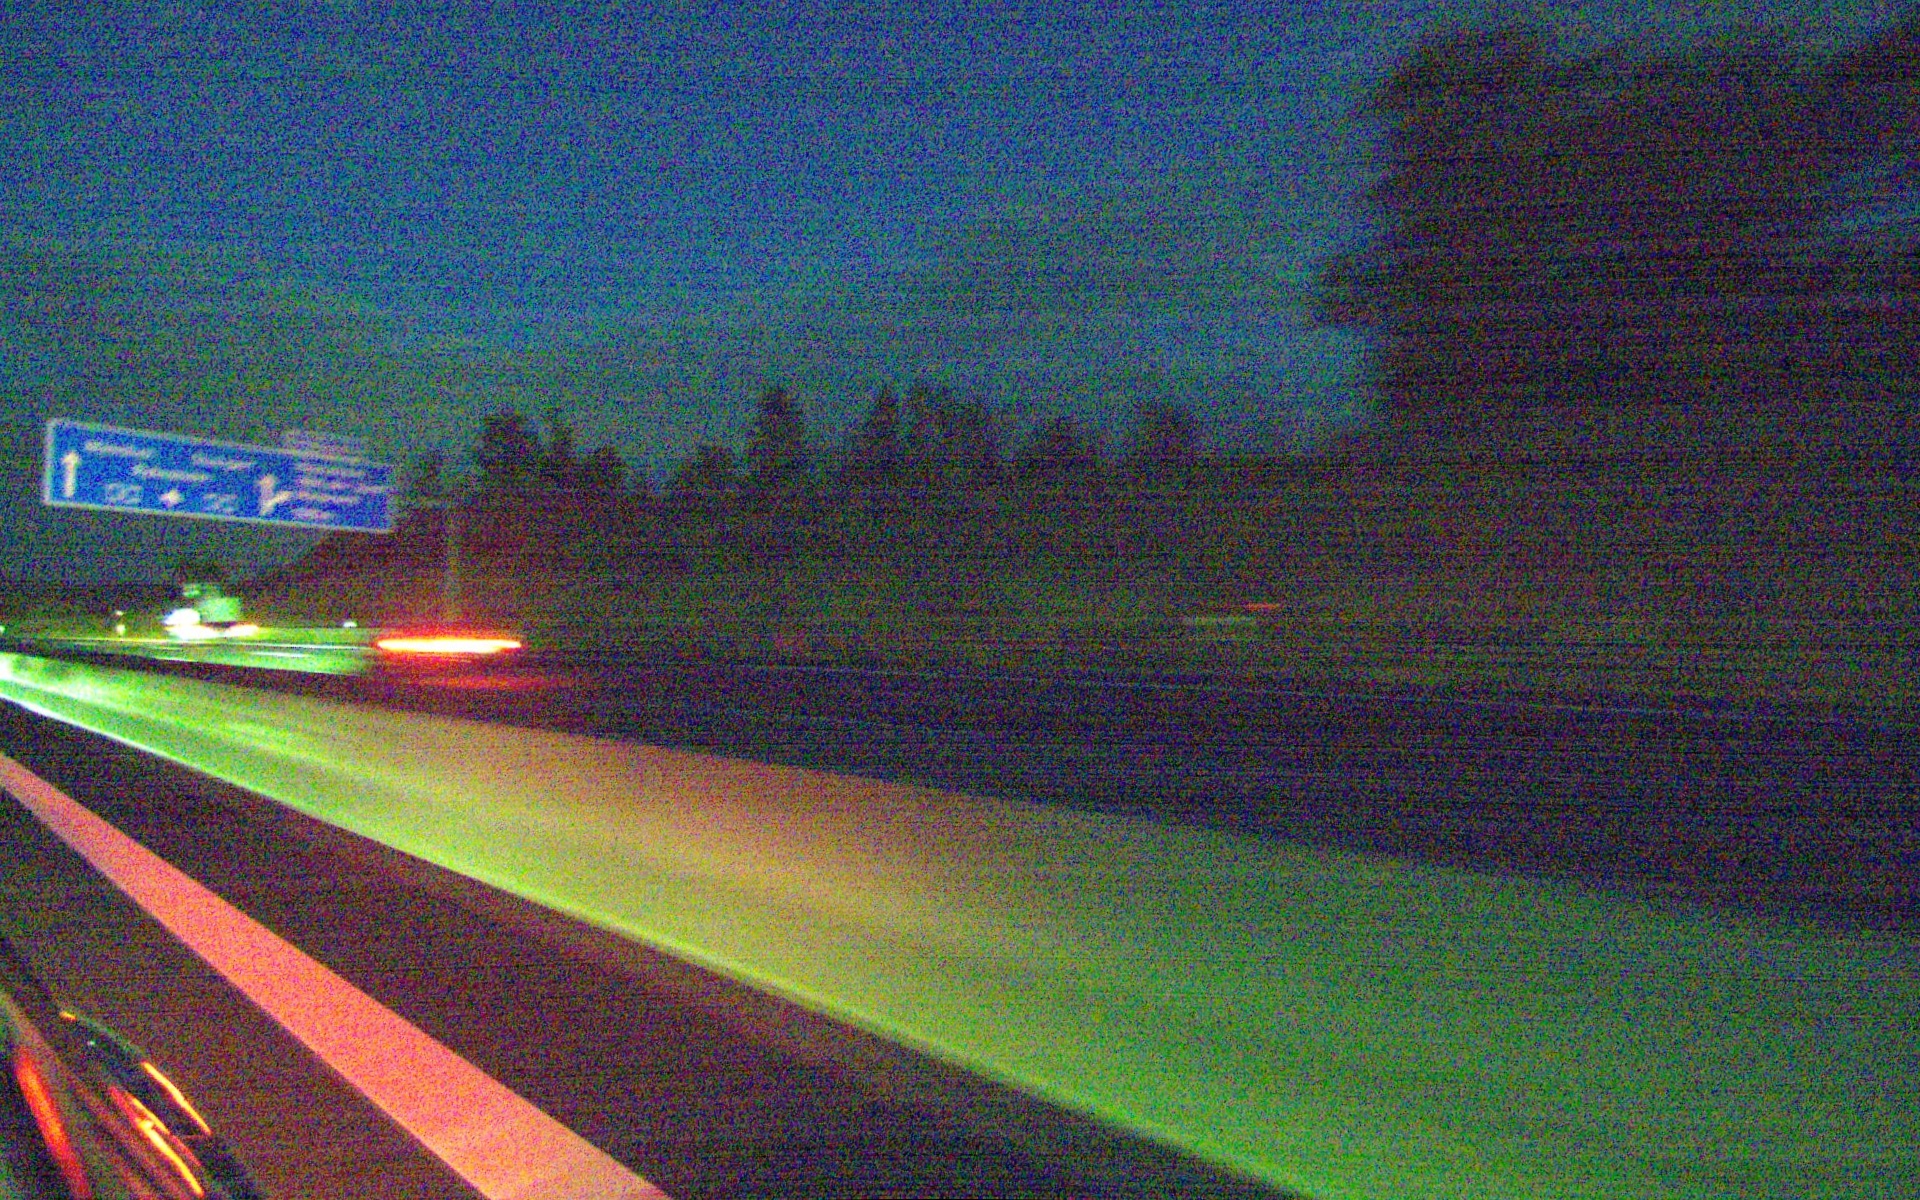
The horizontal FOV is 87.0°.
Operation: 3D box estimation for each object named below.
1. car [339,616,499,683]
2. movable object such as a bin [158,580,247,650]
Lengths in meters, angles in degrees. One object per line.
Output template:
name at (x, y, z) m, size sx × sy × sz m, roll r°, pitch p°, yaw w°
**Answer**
car at (-13.203, 1.148, 24.590) m, size 4.450 × 1.464 × 1.913 m, roll -1°, pitch -1°, yaw 40°
movable object such as a bin at (-40.092, 0.805, 53.503) m, size 7.432 × 3.443 × 2.185 m, roll -1°, pitch -1°, yaw 40°
